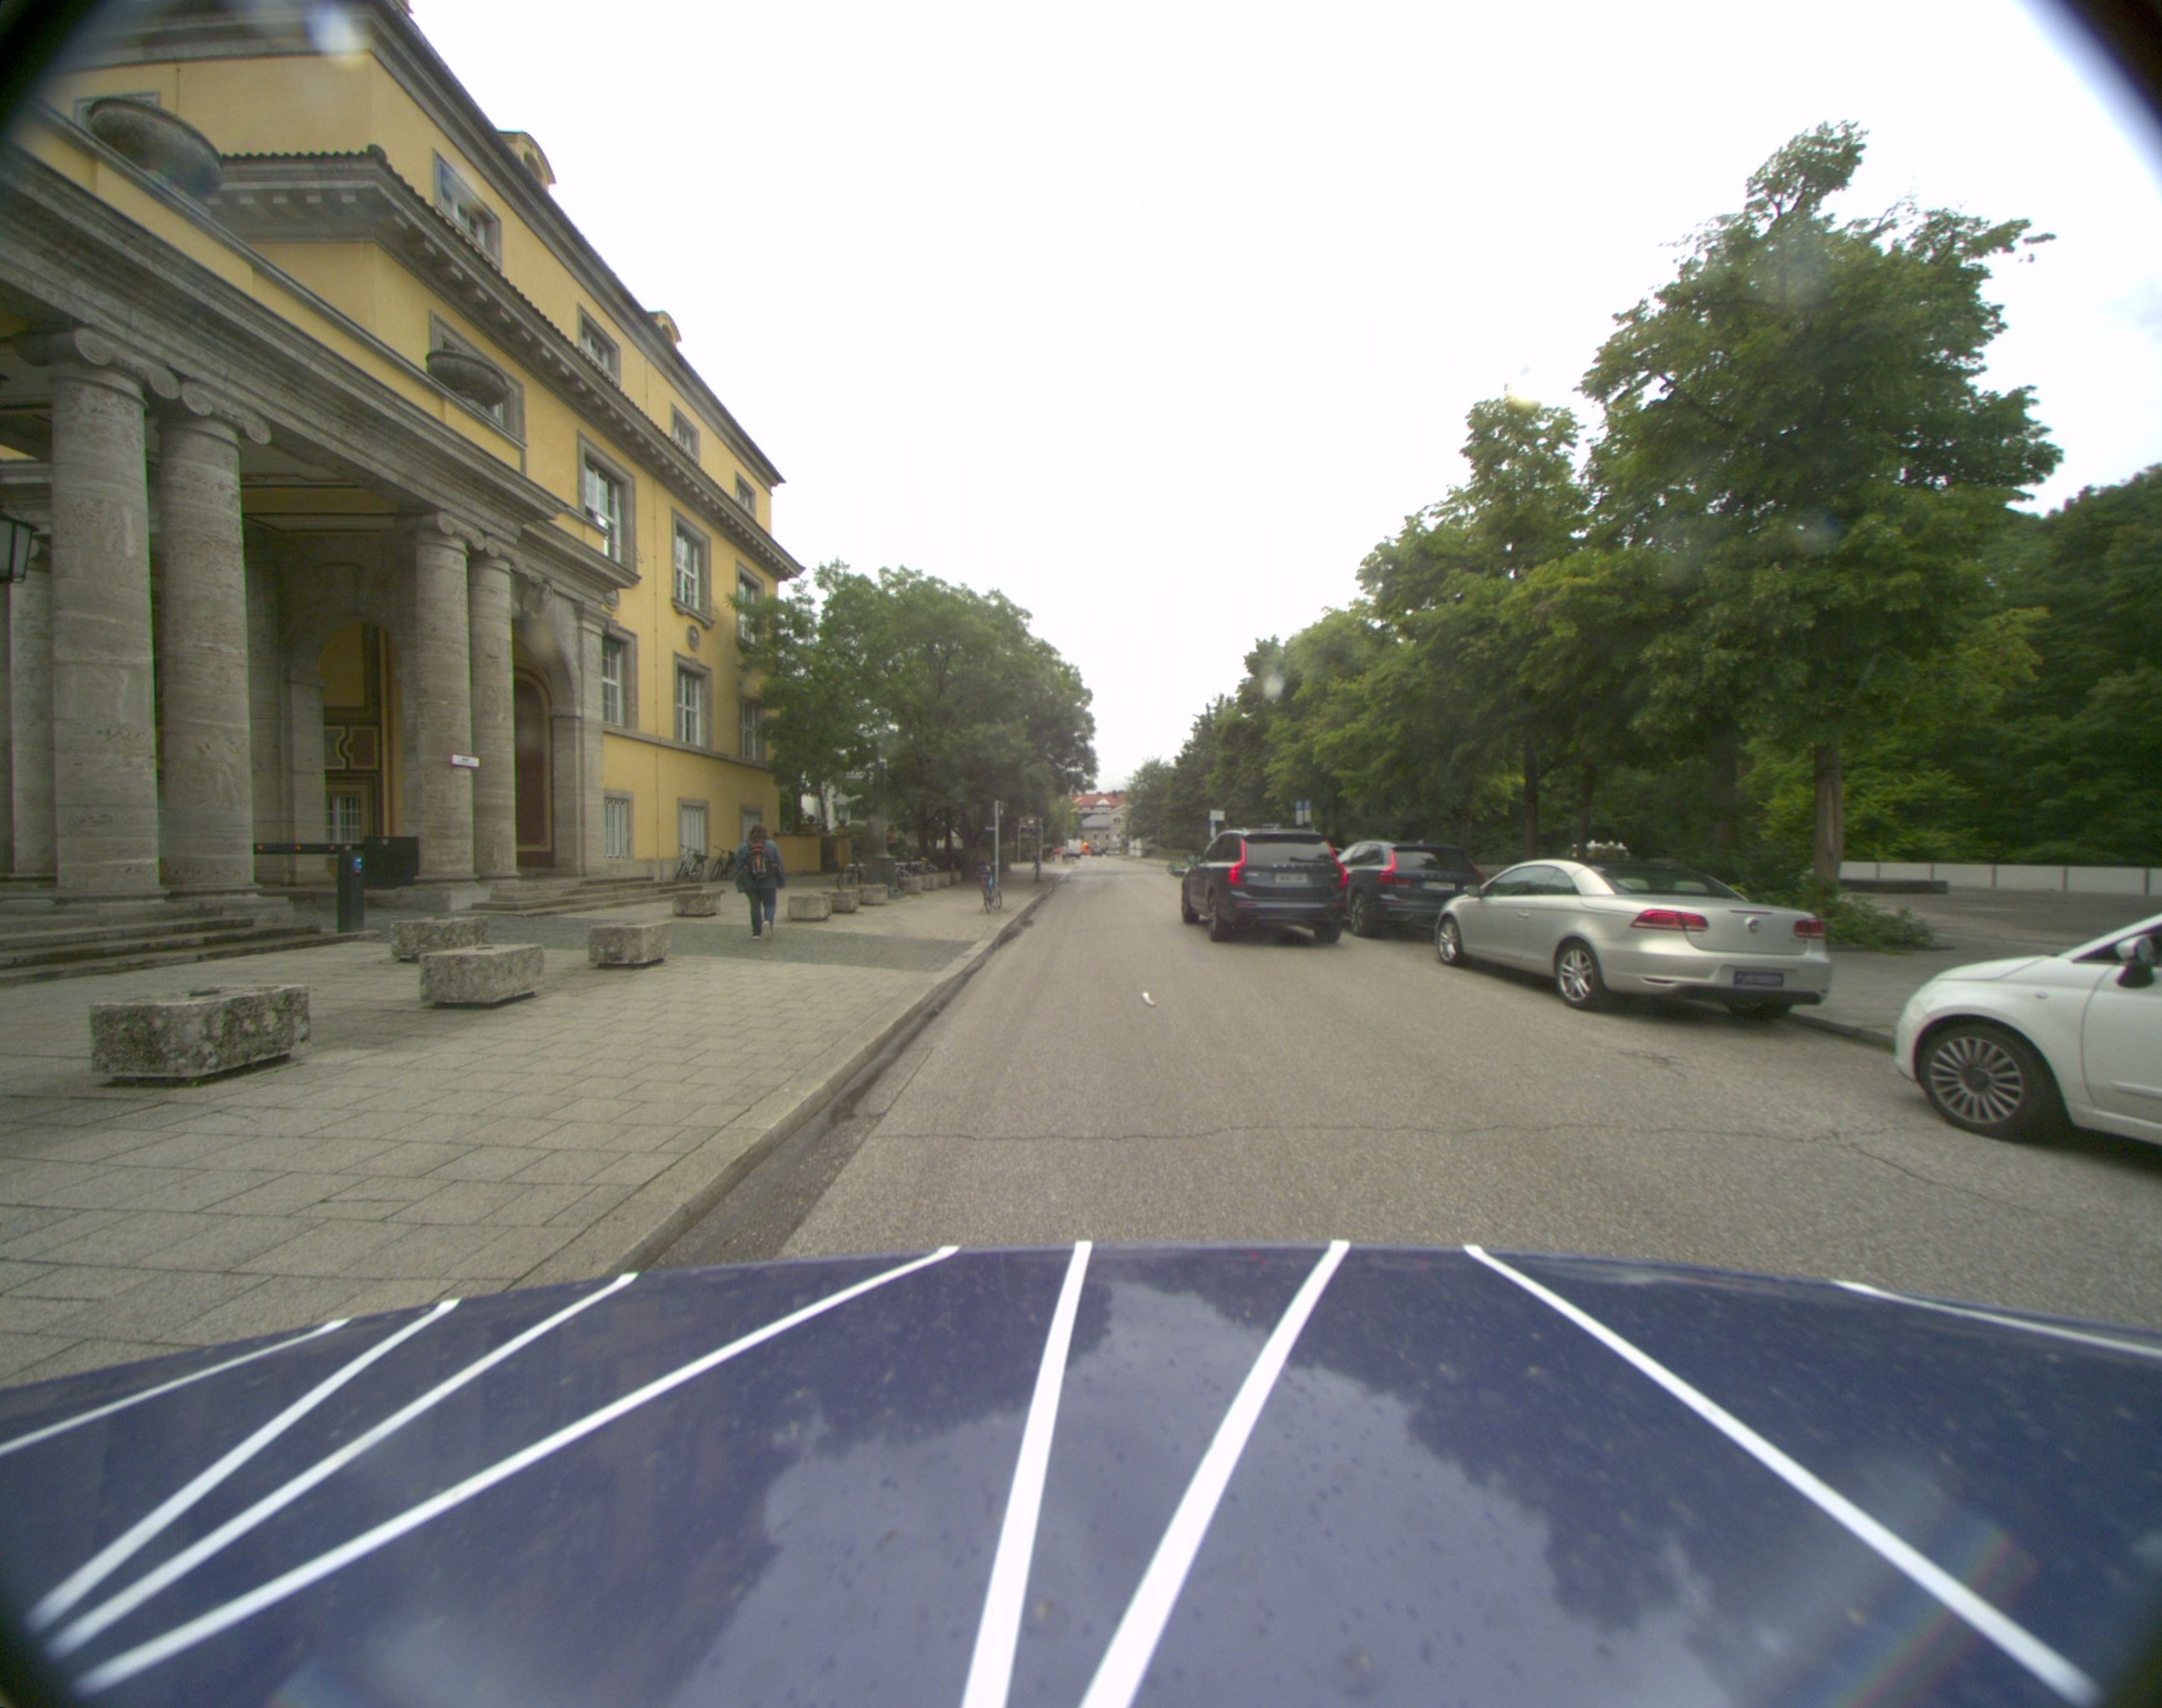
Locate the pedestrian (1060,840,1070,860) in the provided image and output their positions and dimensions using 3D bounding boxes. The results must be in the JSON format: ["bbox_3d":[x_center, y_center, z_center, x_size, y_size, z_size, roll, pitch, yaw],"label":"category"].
[{"bbox_3d":[-1.507,-0.382,70.190,0.777,1.855,0.997,-3,2,-5],"label":"pedestrian"}]

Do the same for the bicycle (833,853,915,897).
[{"bbox_3d":[-6.190,0.634,22.839,2.265,1.088,0.601,5,1,-10],"label":"bicycle"}]

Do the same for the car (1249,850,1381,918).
[{"bbox_3d":[5.650,0.641,19.000,1.998,1.452,4.647,1,1,2],"label":"car"}]

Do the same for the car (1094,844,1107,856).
[{"bbox_3d":[3.293,-0.678,129.127,2.222,1.840,4.730,-3,1,1],"label":"car"}]

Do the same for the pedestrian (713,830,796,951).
[{"bbox_3d":[-4.888,0.518,11.445,0.790,1.736,1.055,1,1,0],"label":"pedestrian"}]

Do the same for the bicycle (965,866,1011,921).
[{"bbox_3d":[-2.132,0.876,17.734,0.762,1.094,2.263,2,1,0],"label":"bicycle"}]

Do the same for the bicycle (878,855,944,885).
[{"bbox_3d":[-6.206,0.590,27.784,2.261,1.005,0.602,2,1,3],"label":"bicycle"}]

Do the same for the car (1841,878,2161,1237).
[{"bbox_3d":[5.371,0.922,2.798,1.547,1.462,3.552,2,1,1],"label":"car"}]

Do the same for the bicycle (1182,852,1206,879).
[{"bbox_3d":[5.592,0.553,37.625,0.574,1.275,1.421,-1,1,33],"label":"bicycle"}]

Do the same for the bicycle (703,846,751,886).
[{"bbox_3d":[-12.003,0.386,25.867,0.601,1.299,2.164,1,1,1],"label":"bicycle"}]

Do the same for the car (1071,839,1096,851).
[{"bbox_3d":[0.539,-1.945,169.064,4.973,2.521,2.578,-1,2,44],"label":"car"}]

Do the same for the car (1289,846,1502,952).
[{"bbox_3d":[5.403,0.661,13.829,1.998,1.574,4.521,1,1,1],"label":"car"}]

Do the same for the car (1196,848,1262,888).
[{"bbox_3d":[5.951,0.517,31.047,1.998,1.452,4.364,1,1,2],"label":"car"}]

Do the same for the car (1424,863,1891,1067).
[{"bbox_3d":[5.423,0.889,8.022,1.762,1.392,4.217,3,1,2],"label":"car"}]

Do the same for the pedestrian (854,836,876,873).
[{"bbox_3d":[-10.402,0.024,36.654,0.741,1.734,0.841,3,2,1],"label":"pedestrian"}]

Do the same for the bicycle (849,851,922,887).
[{"bbox_3d":[-6.573,0.506,25.632,2.265,1.018,0.601,5,1,-10],"label":"bicycle"}]

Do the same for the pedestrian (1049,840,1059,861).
[{"bbox_3d":[-2.490,-0.321,70.098,0.777,1.855,0.996,-3,2,-7],"label":"pedestrian"}]

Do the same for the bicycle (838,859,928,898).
[{"bbox_3d":[-5.633,0.700,21.742,2.370,1.000,0.677,2,1,-8],"label":"bicycle"}]

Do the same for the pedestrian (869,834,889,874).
[{"bbox_3d":[-9.701,-0.011,36.464,0.659,1.855,0.820,3,2,1],"label":"pedestrian"}]

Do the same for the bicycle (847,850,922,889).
[{"bbox_3d":[-6.365,0.513,24.717,2.265,1.053,0.601,5,1,-10],"label":"bicycle"}]

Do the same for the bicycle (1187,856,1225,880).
[{"bbox_3d":[5.924,0.650,36.095,1.700,1.101,0.598,-1,2,-7],"label":"bicycle"}]

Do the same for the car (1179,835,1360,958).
[{"bbox_3d":[2.944,0.559,13.049,1.965,1.672,4.911,2,1,2],"label":"car"}]

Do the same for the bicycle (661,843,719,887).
[{"bbox_3d":[-12.044,0.308,23.507,0.601,1.299,2.264,1,1,1],"label":"bicycle"}]

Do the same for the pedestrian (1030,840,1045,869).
[{"bbox_3d":[-2.657,0.029,46.526,0.798,1.722,0.660,-3,2,0],"label":"pedestrian"}]

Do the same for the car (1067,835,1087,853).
[{"bbox_3d":[-0.591,-1.411,106.214,2.236,2.289,4.728,-3,2,-4],"label":"car"}]

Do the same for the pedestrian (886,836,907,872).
[{"bbox_3d":[-9.687,-0.019,39.913,0.782,1.855,1.035,3,2,1],"label":"pedestrian"}]
